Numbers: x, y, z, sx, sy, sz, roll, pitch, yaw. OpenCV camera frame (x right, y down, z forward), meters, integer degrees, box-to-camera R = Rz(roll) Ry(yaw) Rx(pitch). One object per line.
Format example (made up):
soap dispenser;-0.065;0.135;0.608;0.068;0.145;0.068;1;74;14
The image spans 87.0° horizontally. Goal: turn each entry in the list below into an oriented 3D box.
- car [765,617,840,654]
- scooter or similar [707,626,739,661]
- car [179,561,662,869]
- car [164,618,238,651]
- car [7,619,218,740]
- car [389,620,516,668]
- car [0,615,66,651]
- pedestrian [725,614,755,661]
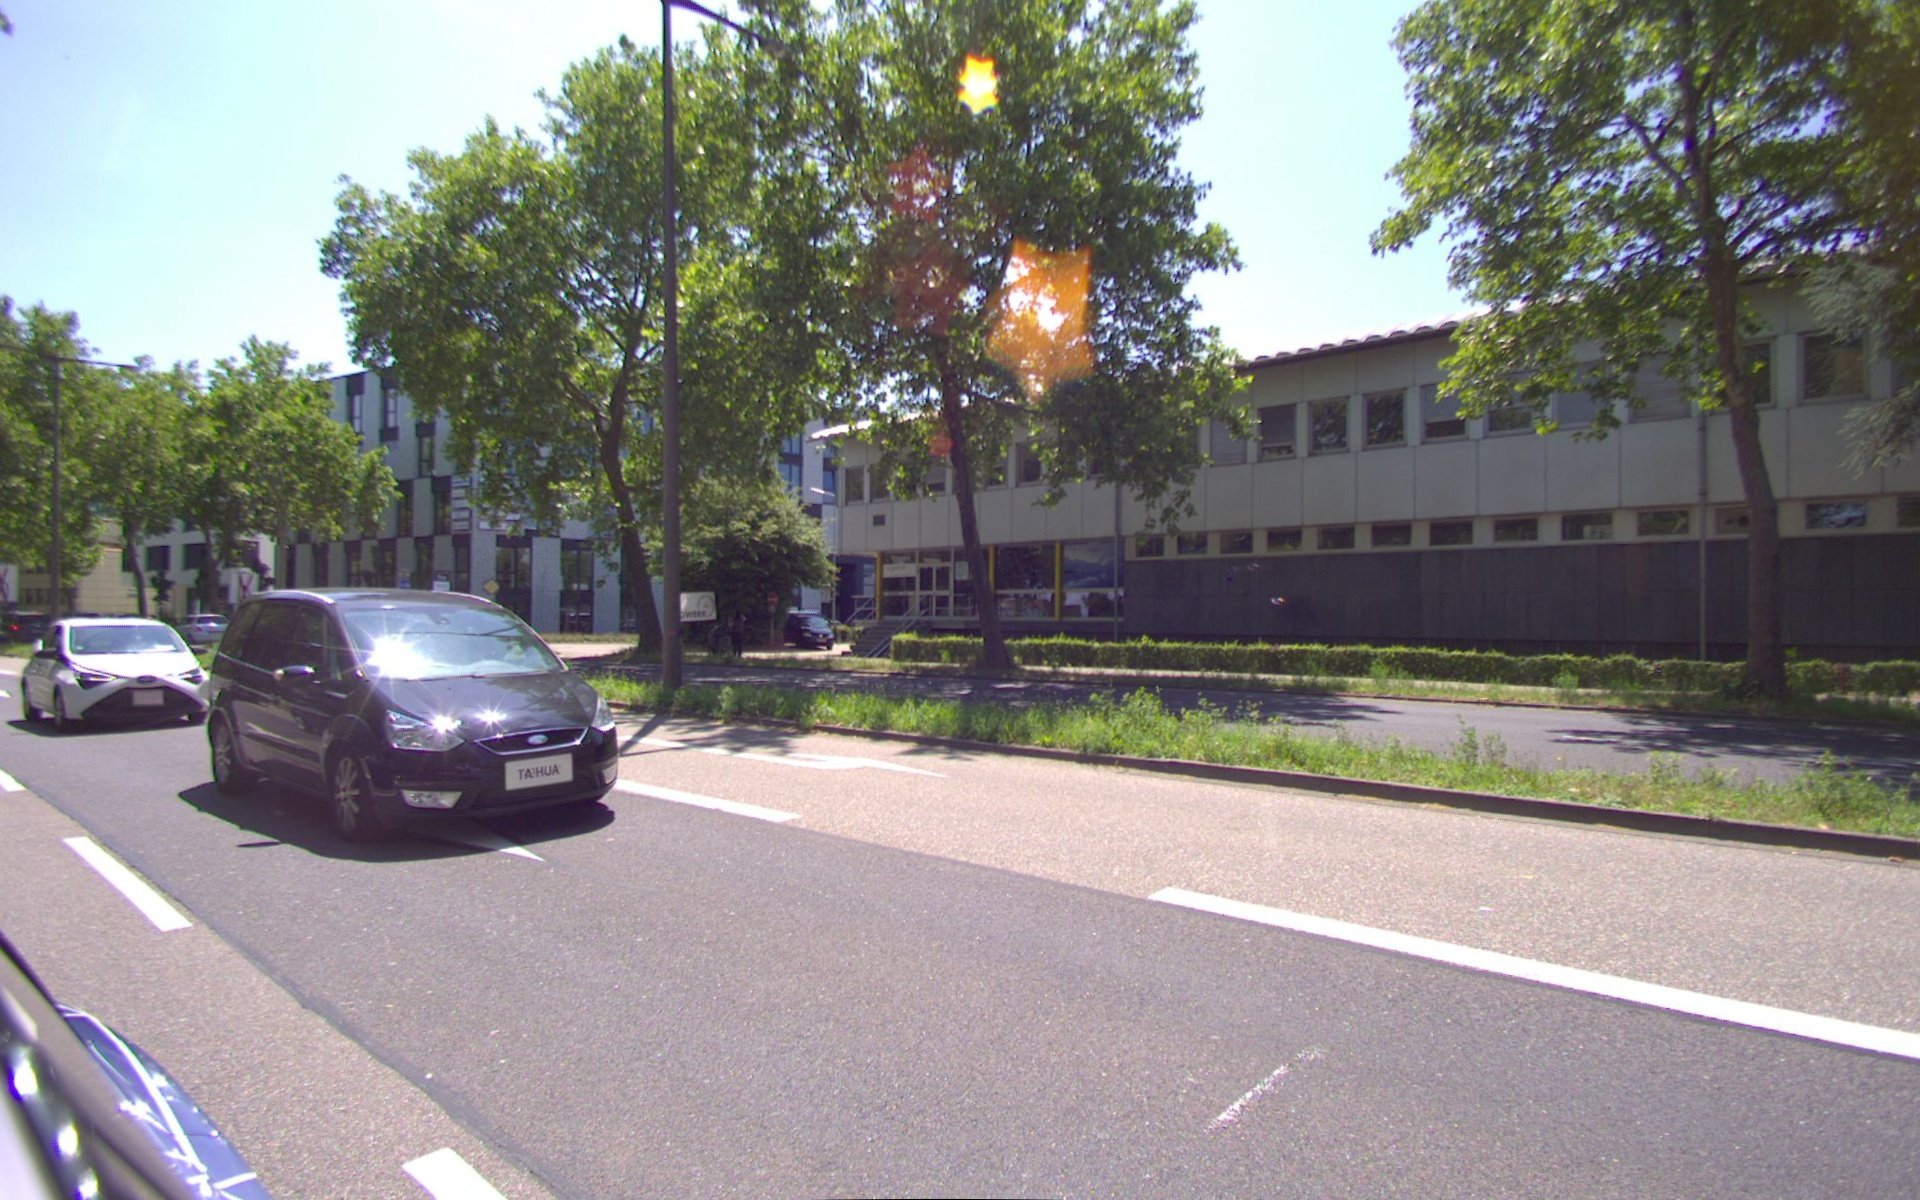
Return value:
car;-7.546;1.646;48.433;3.528;1.659;1.795;-1;0;44
scooter or similar;-8.123;1.474;34.647;0.857;1.172;0.672;-1;-2;35
car;-4.479;0.700;8.042;4.645;1.769;1.835;-1;-1;41
car;-34.741;1.551;46.311;3.666;1.470;1.716;-1;-2;36
car;-12.016;1.020;14.288;3.647;1.456;1.603;-1;0;39
car;-16.211;1.350;32.253;4.540;1.429;1.836;-1;-2;38
car;-45.813;1.607;49.811;4.615;1.668;1.930;-1;-2;39
pedestrian;-7.434;1.249;34.167;0.789;1.572;0.636;-1;-2;35
